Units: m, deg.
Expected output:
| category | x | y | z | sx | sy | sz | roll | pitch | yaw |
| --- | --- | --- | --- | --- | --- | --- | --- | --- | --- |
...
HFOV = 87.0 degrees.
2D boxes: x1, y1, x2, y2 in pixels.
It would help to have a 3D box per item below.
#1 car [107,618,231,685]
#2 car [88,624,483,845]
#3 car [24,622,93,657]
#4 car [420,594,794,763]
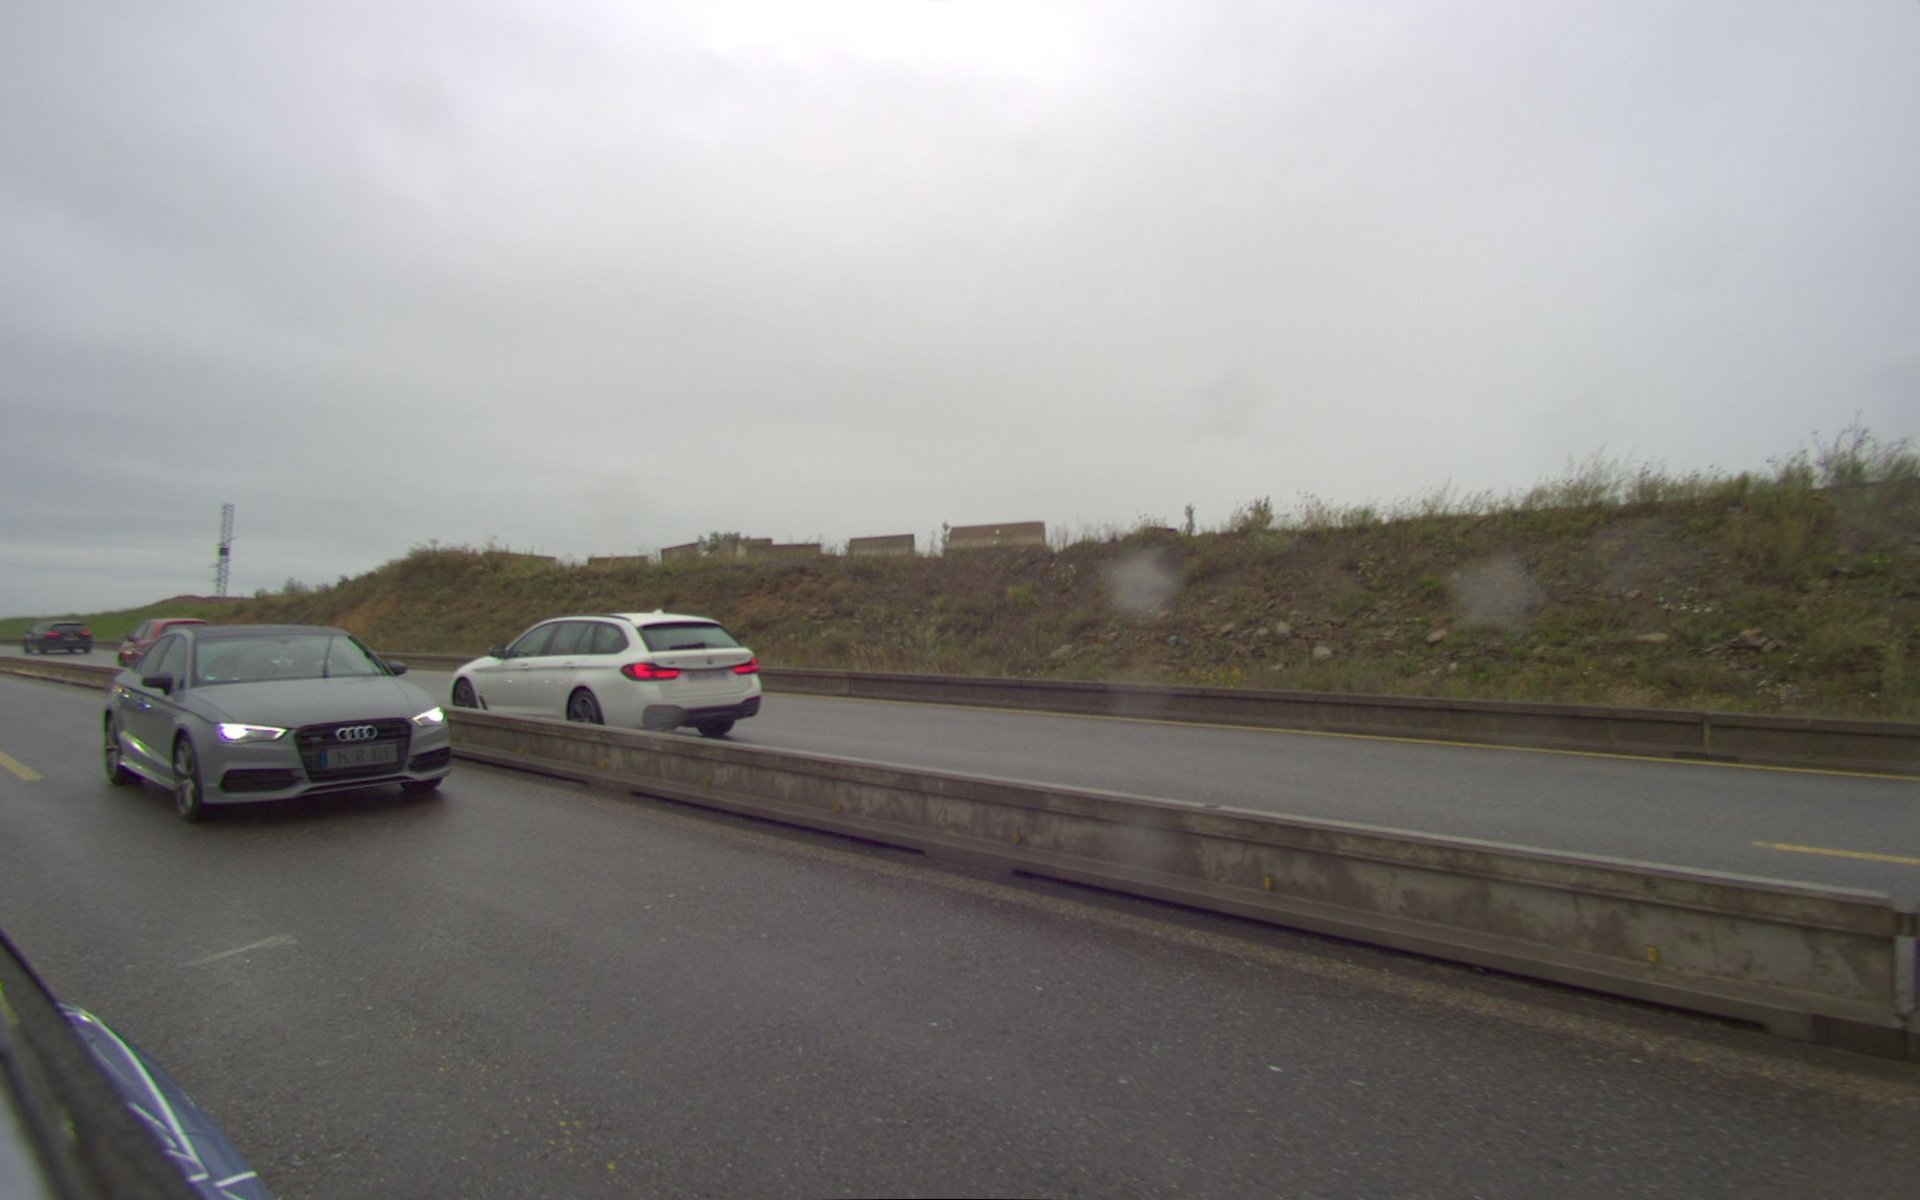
| category | x | y | z | sx | sy | sz | roll | pitch | yaw |
| --- | --- | --- | --- | --- | --- | --- | --- | --- | --- |
| car | -20.323 | 1.260 | 25.958 | 3.717 | 1.589 | 1.710 | -1 | -1 | 39 |
| car | -5.881 | 0.924 | 8.629 | 4.085 | 1.393 | 1.782 | -1 | -1 | 41 |
| car | -41.119 | 1.774 | 46.104 | 4.668 | 1.454 | 1.750 | -1 | 0 | 41 |
| car | -4.415 | 0.787 | 12.205 | 4.986 | 1.645 | 2.025 | -1 | -1 | 40 |
